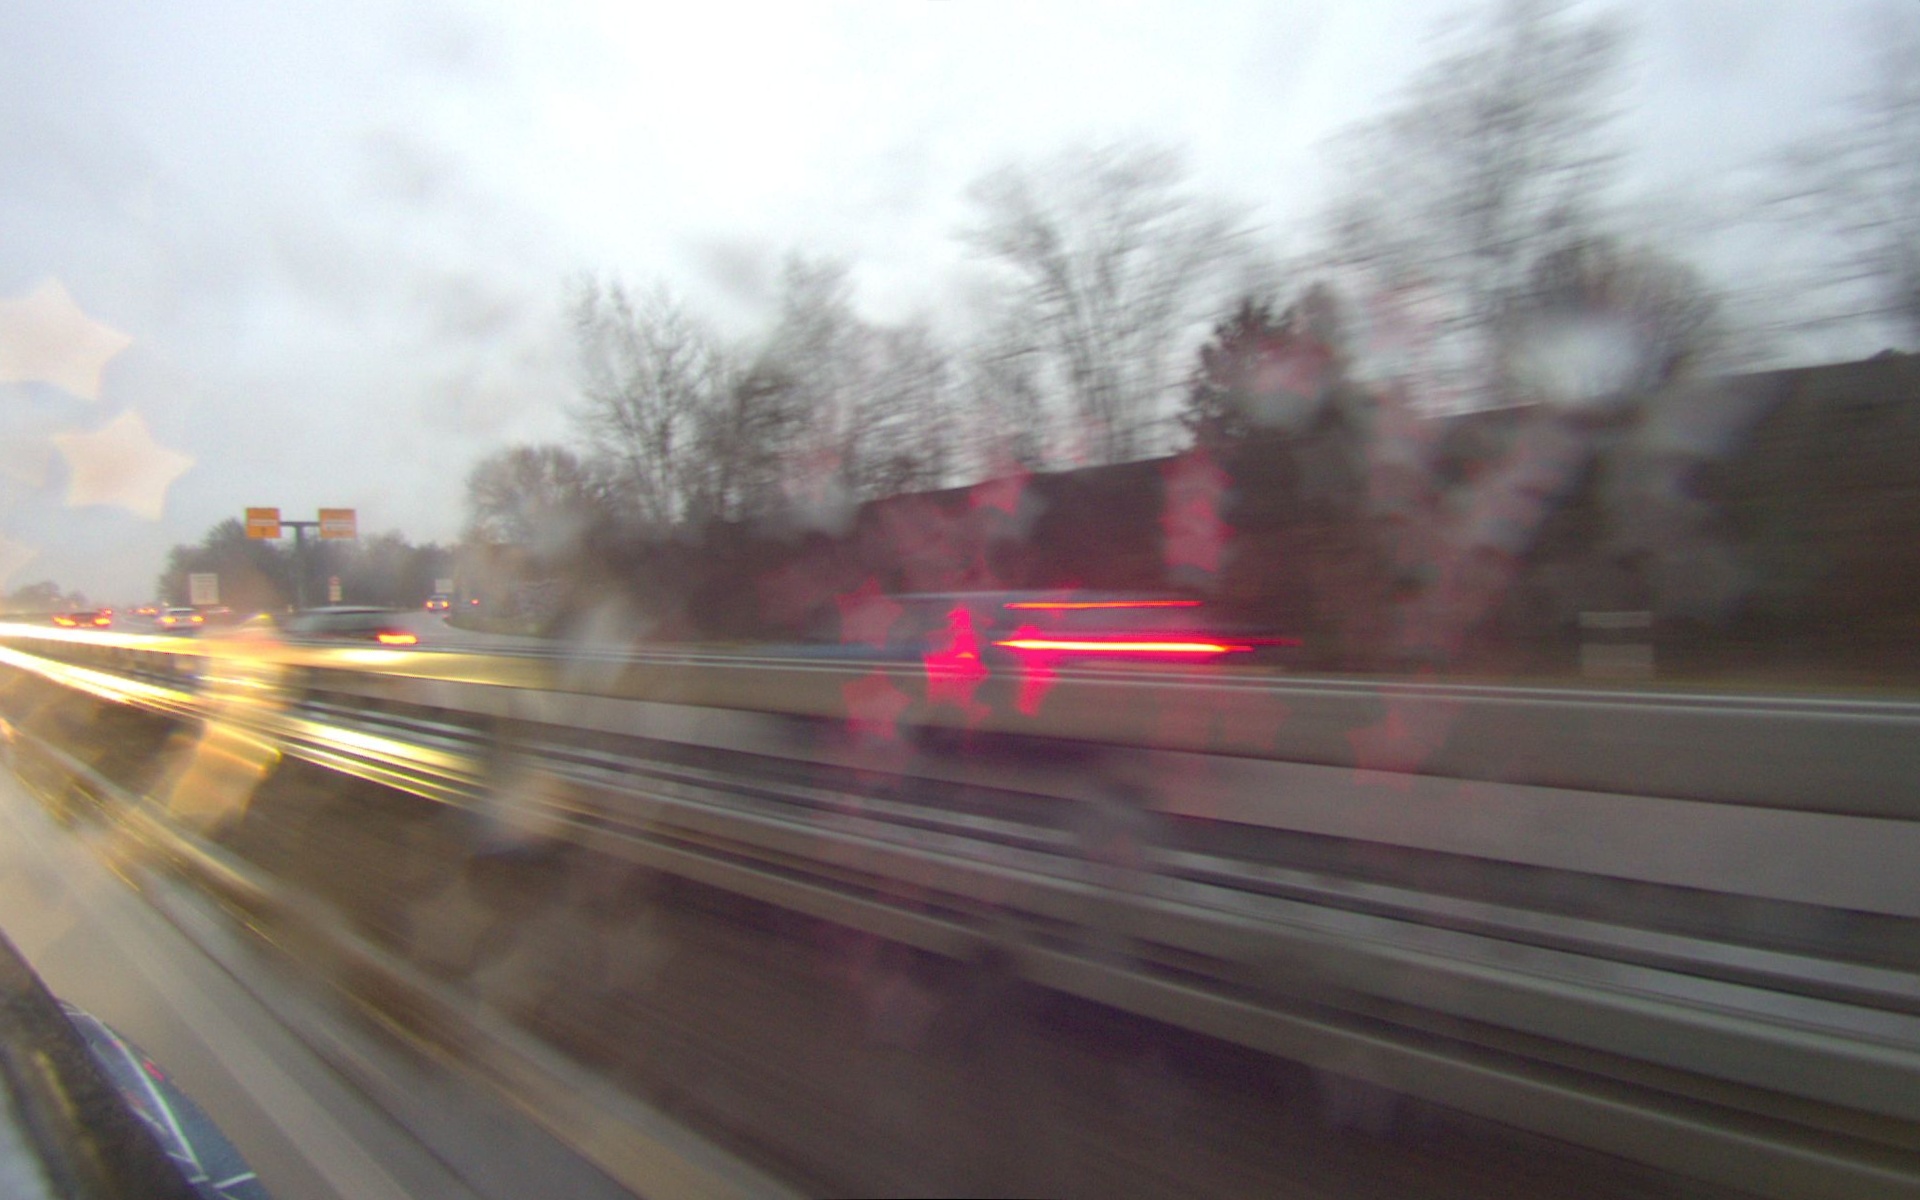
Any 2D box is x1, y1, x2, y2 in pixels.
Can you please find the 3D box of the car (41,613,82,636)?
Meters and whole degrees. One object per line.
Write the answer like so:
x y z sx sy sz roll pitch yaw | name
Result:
-61.306 1.654 69.020 3.843 1.506 1.718 -1 1 43 | car

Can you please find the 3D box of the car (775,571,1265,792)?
0.370 0.570 9.029 4.133 1.521 1.764 -1 1 41 | car

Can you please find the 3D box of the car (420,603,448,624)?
-51.983 1.278 100.092 1.965 1.928 4.460 -2 1 -22 | car

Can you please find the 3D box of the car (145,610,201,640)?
-44.489 1.402 57.169 4.850 1.578 1.685 -1 1 43 | car

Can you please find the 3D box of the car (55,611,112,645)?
-42.589 1.331 49.142 4.599 1.495 1.599 -1 1 43 | car

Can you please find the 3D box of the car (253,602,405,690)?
-12.562 0.857 20.087 3.504 1.530 1.636 -1 1 42 | car
